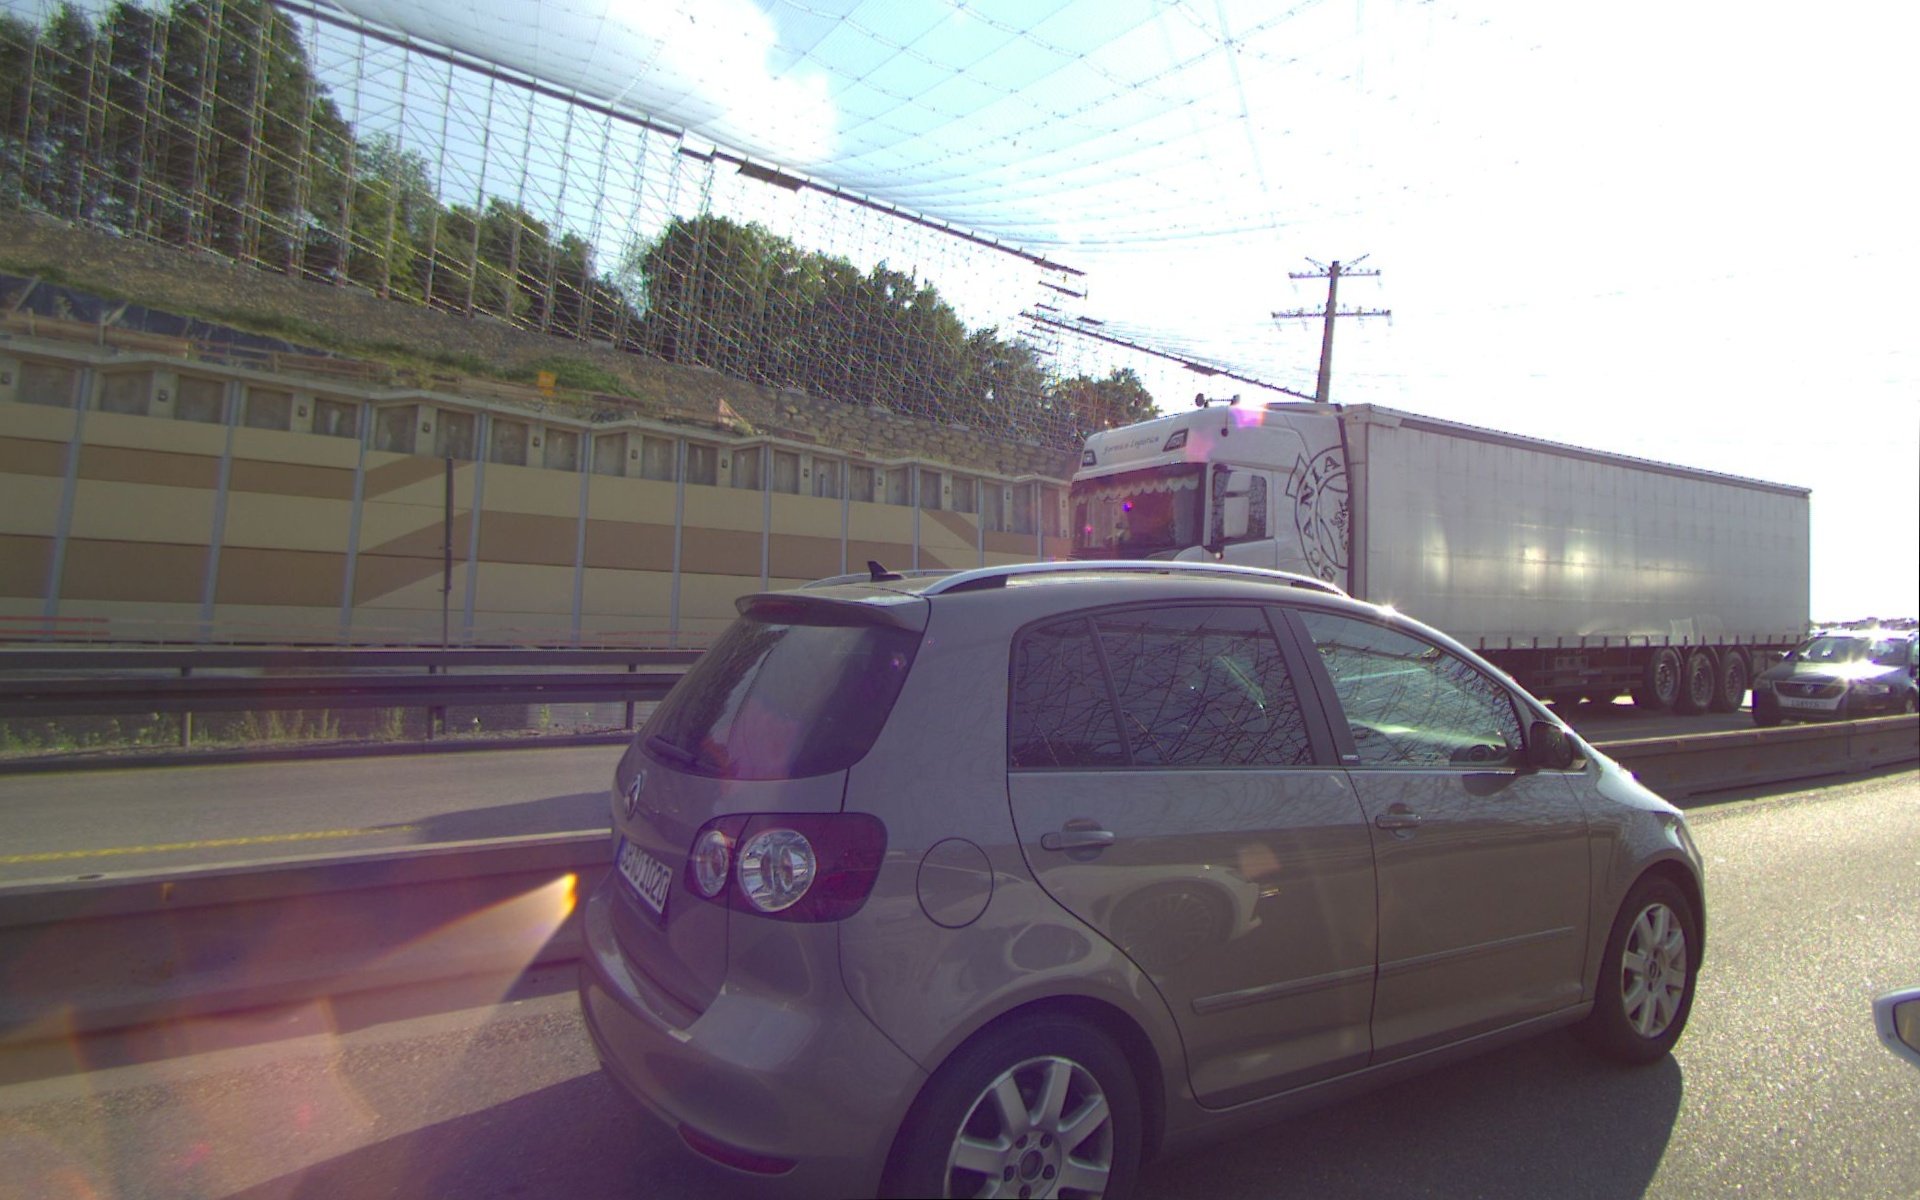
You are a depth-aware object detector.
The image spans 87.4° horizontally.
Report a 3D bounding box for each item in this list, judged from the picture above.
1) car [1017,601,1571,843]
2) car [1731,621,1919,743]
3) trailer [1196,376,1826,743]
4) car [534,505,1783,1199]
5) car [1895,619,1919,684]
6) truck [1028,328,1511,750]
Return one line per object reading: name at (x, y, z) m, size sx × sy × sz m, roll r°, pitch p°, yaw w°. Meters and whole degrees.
car at (2.932, 0.843, 8.443) m, size 4.700 × 1.522 × 1.775 m, roll 2°, pitch 1°, yaw -31°
car at (13.722, 1.159, 15.285) m, size 4.357 × 1.563 × 1.732 m, roll 2°, pitch 1°, yaw -32°
trailer at (9.862, -0.335, 16.539) m, size 13.765 × 4.290 × 2.639 m, roll 2°, pitch 1°, yaw -32°
car at (0.863, 0.703, 3.404) m, size 4.052 × 1.594 × 1.675 m, roll 2°, pitch -1°, yaw -30°
car at (27.573, 1.442, 27.886) m, size 3.963 × 1.706 × 1.667 m, roll 1°, pitch 1°, yaw -37°
truck at (4.120, -0.536, 12.959) m, size 6.038 × 4.286 × 2.647 m, roll 2°, pitch -1°, yaw -33°
